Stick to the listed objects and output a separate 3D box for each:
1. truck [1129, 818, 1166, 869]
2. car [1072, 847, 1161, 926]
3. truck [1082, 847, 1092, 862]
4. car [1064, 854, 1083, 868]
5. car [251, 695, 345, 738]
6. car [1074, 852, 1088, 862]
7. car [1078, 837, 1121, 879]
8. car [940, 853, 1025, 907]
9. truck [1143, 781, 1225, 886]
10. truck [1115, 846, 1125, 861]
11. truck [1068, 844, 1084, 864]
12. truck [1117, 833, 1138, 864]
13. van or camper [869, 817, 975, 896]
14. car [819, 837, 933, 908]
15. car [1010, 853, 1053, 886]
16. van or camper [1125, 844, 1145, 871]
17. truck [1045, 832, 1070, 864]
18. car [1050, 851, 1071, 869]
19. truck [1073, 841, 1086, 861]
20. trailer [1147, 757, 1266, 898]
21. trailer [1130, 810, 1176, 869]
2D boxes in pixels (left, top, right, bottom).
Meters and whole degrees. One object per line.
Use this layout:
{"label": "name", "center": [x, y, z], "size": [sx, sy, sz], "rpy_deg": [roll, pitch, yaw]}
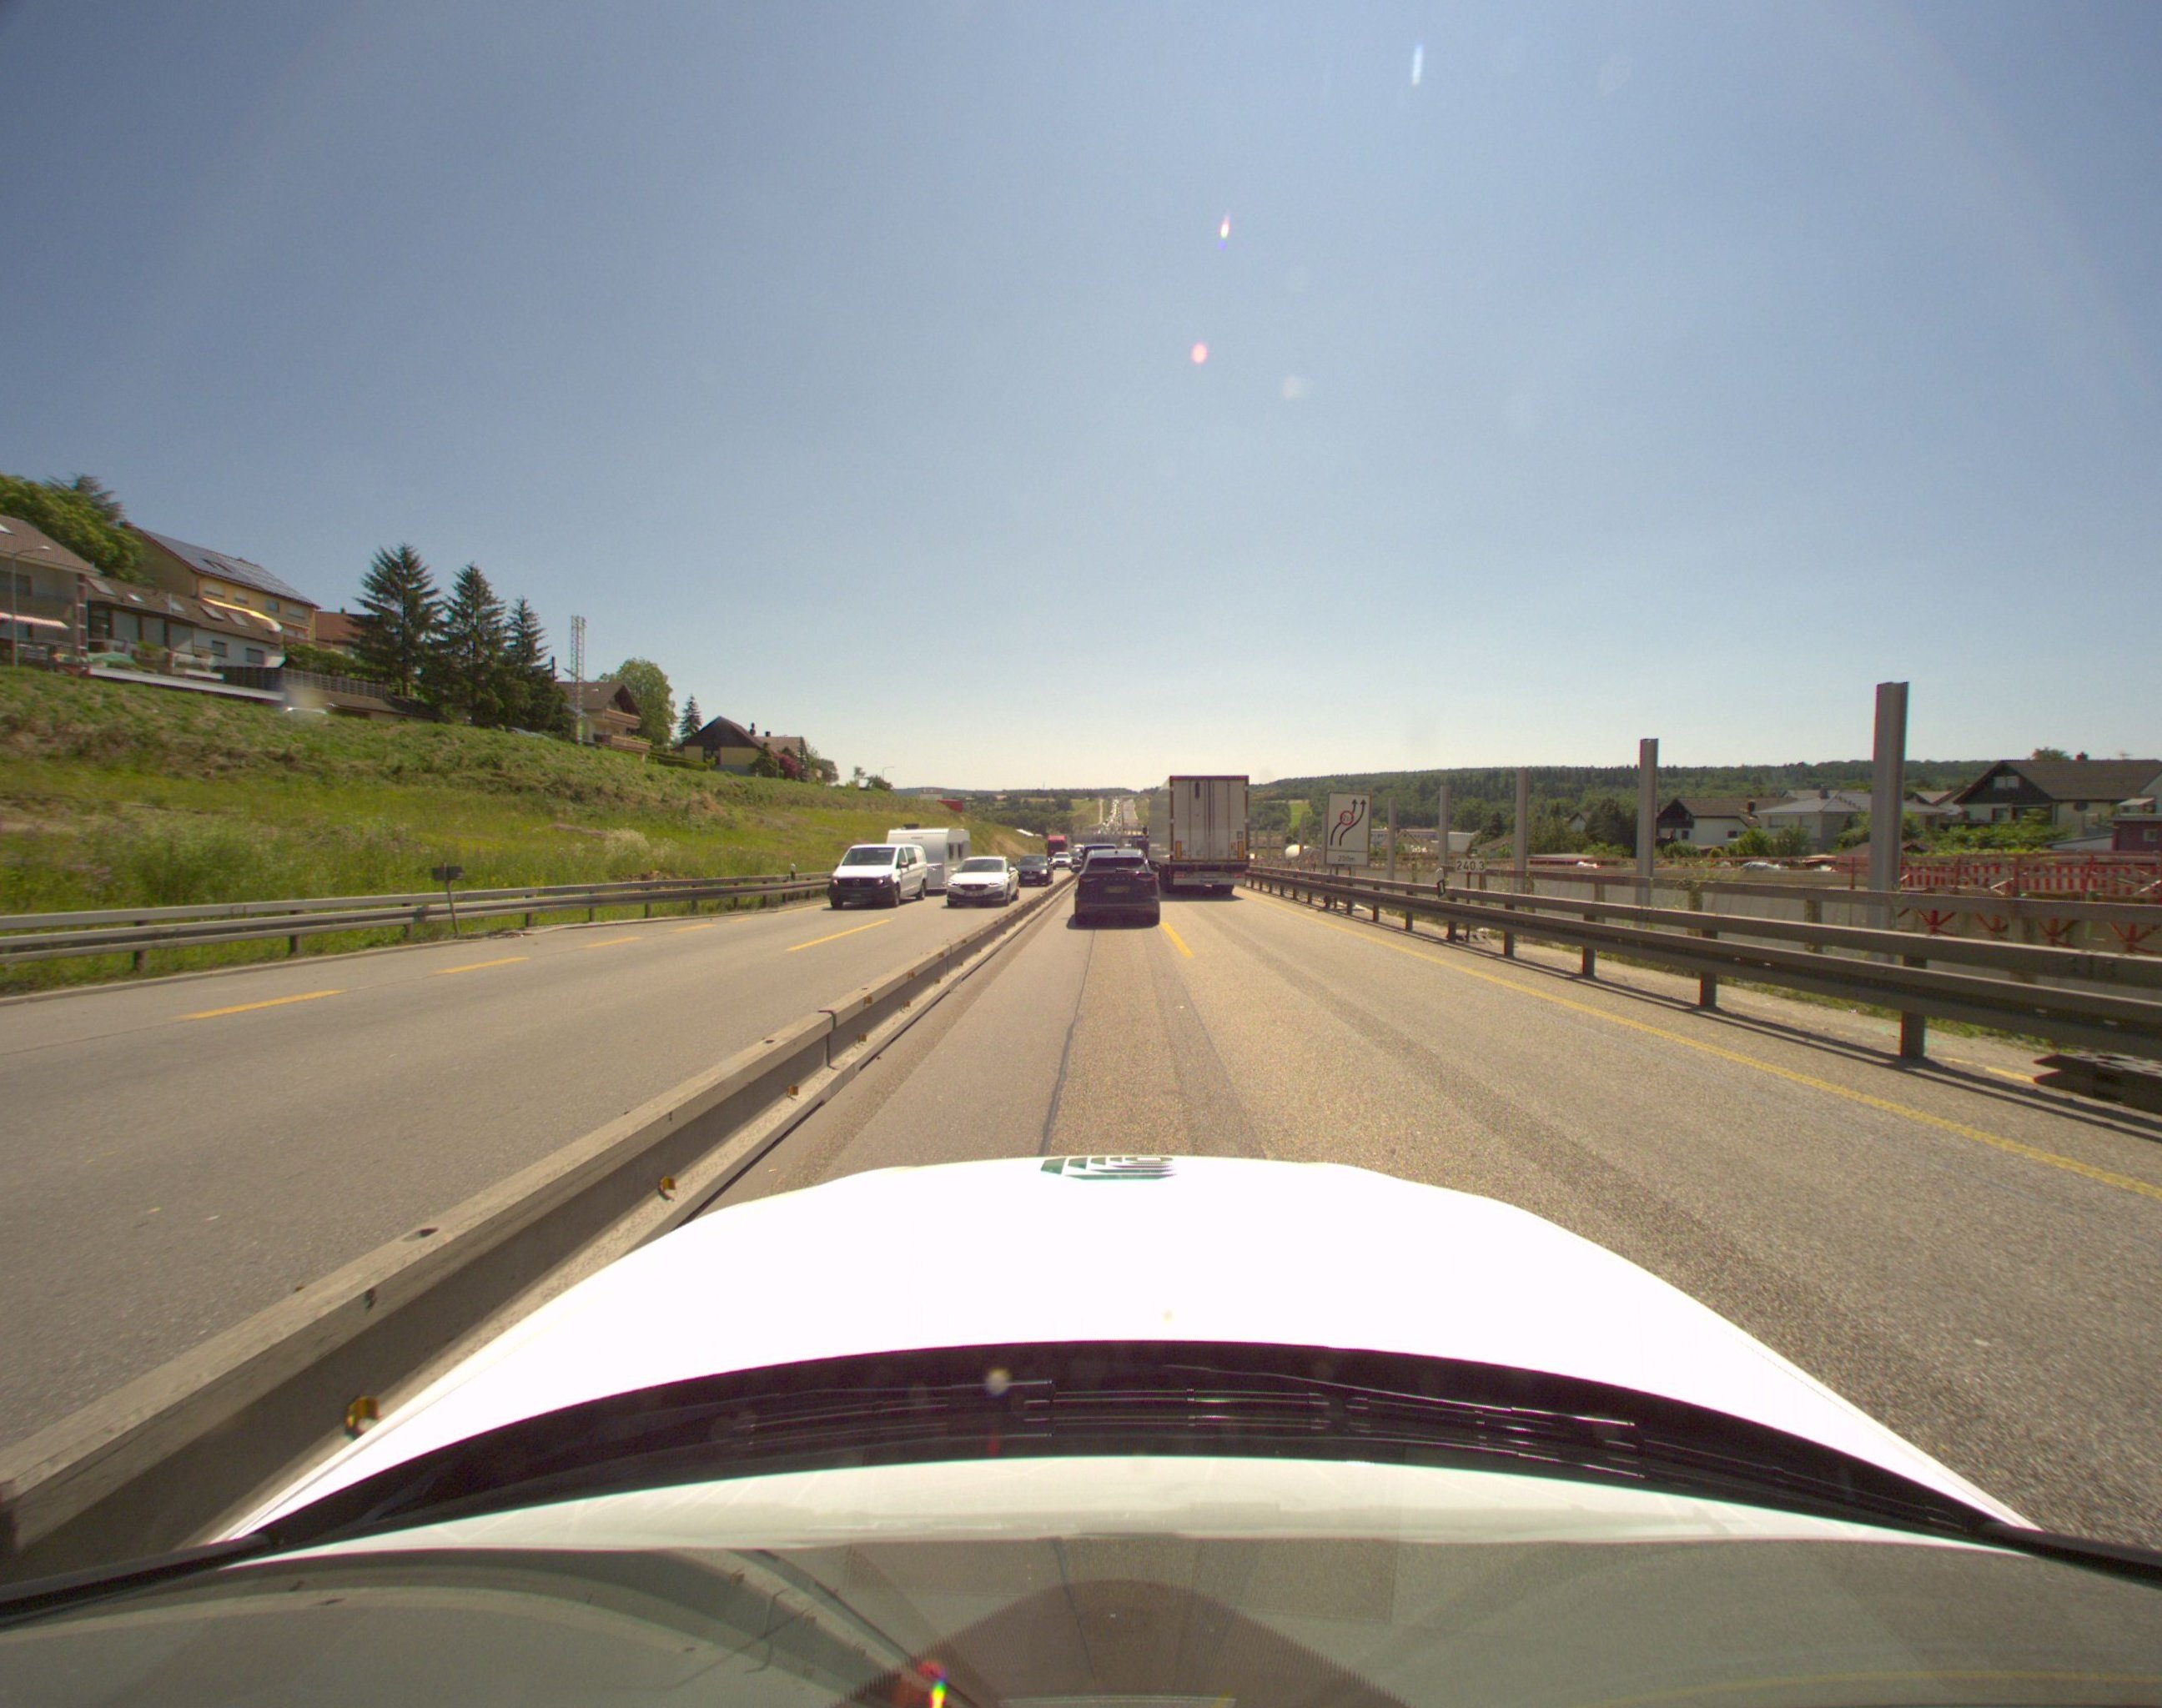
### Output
{"label": "truck", "center": [6.266, -0.883, 77.676], "size": [3.168, 4.513, 8.168], "rpy_deg": [0, -1, 2]}
{"label": "car", "center": [0.820, 0.678, 18.517], "size": [1.795, 1.607, 4.002], "rpy_deg": [0, -1, 3]}
{"label": "truck", "center": [1.940, 0.325, 248.587], "size": [2.842, 4.338, 11.920], "rpy_deg": [0, -1, 2]}
{"label": "car", "center": [-0.845, 0.800, 93.160], "size": [1.986, 1.530, 4.001], "rpy_deg": [-1, 0, 1]}
{"label": "car", "center": [-50.915, -8.883, 53.068], "size": [1.983, 2.014, 4.008], "rpy_deg": [-1, -1, 7]}
{"label": "car", "center": [-0.019, 0.420, 114.946], "size": [1.855, 1.476, 4.001], "rpy_deg": [0, 0, 1]}
{"label": "car", "center": [0.916, 0.249, 39.903], "size": [1.986, 1.926, 4.509], "rpy_deg": [0, -1, 2]}
{"label": "car", "center": [-2.919, 0.722, 25.025], "size": [1.905, 1.480, 4.638], "rpy_deg": [-1, 0, 1]}
{"label": "truck", "center": [4.778, -0.894, 39.305], "size": [3.168, 4.513, 8.170], "rpy_deg": [0, 0, 2]}
{"label": "truck", "center": [11.174, -0.183, 232.768], "size": [2.629, 4.194, 9.288], "rpy_deg": [0, -1, 2]}
{"label": "truck", "center": [-1.003, 0.117, 165.839], "size": [2.842, 3.782, 11.920], "rpy_deg": [0, -1, 2]}
{"label": "truck", "center": [7.318, -0.766, 129.116], "size": [2.842, 4.465, 11.920], "rpy_deg": [0, -1, 2]}
{"label": "van or camper", "center": [-5.987, 0.078, 32.015], "size": [2.348, 2.676, 7.861], "rpy_deg": [-1, 0, 2]}
{"label": "car", "center": [-6.196, 0.511, 25.397], "size": [1.986, 1.971, 5.346], "rpy_deg": [-1, 0, 2]}
{"label": "car", "center": [-2.216, 0.669, 37.514], "size": [1.660, 1.413, 3.818], "rpy_deg": [0, 0, 1]}
{"label": "van or camper", "center": [6.797, 0.496, 101.554], "size": [2.378, 3.281, 6.475], "rpy_deg": [-1, -1, 4]}
{"label": "truck", "center": [-3.155, -0.759, 114.718], "size": [2.842, 4.140, 11.920], "rpy_deg": [0, -1, 2]}
{"label": "car", "center": [-1.829, 0.516, 72.771], "size": [1.786, 1.518, 3.998], "rpy_deg": [-1, 0, 0]}
{"label": "truck", "center": [-0.290, -0.545, 189.073], "size": [2.842, 4.338, 11.920], "rpy_deg": [0, -1, 2]}
{"label": "trailer", "center": [4.581, -0.884, 32.809], "size": [3.168, 4.513, 13.115], "rpy_deg": [0, 0, 2]}
{"label": "trailer", "center": [6.025, -1.012, 70.703], "size": [3.168, 4.513, 14.972], "rpy_deg": [0, -1, 2]}
